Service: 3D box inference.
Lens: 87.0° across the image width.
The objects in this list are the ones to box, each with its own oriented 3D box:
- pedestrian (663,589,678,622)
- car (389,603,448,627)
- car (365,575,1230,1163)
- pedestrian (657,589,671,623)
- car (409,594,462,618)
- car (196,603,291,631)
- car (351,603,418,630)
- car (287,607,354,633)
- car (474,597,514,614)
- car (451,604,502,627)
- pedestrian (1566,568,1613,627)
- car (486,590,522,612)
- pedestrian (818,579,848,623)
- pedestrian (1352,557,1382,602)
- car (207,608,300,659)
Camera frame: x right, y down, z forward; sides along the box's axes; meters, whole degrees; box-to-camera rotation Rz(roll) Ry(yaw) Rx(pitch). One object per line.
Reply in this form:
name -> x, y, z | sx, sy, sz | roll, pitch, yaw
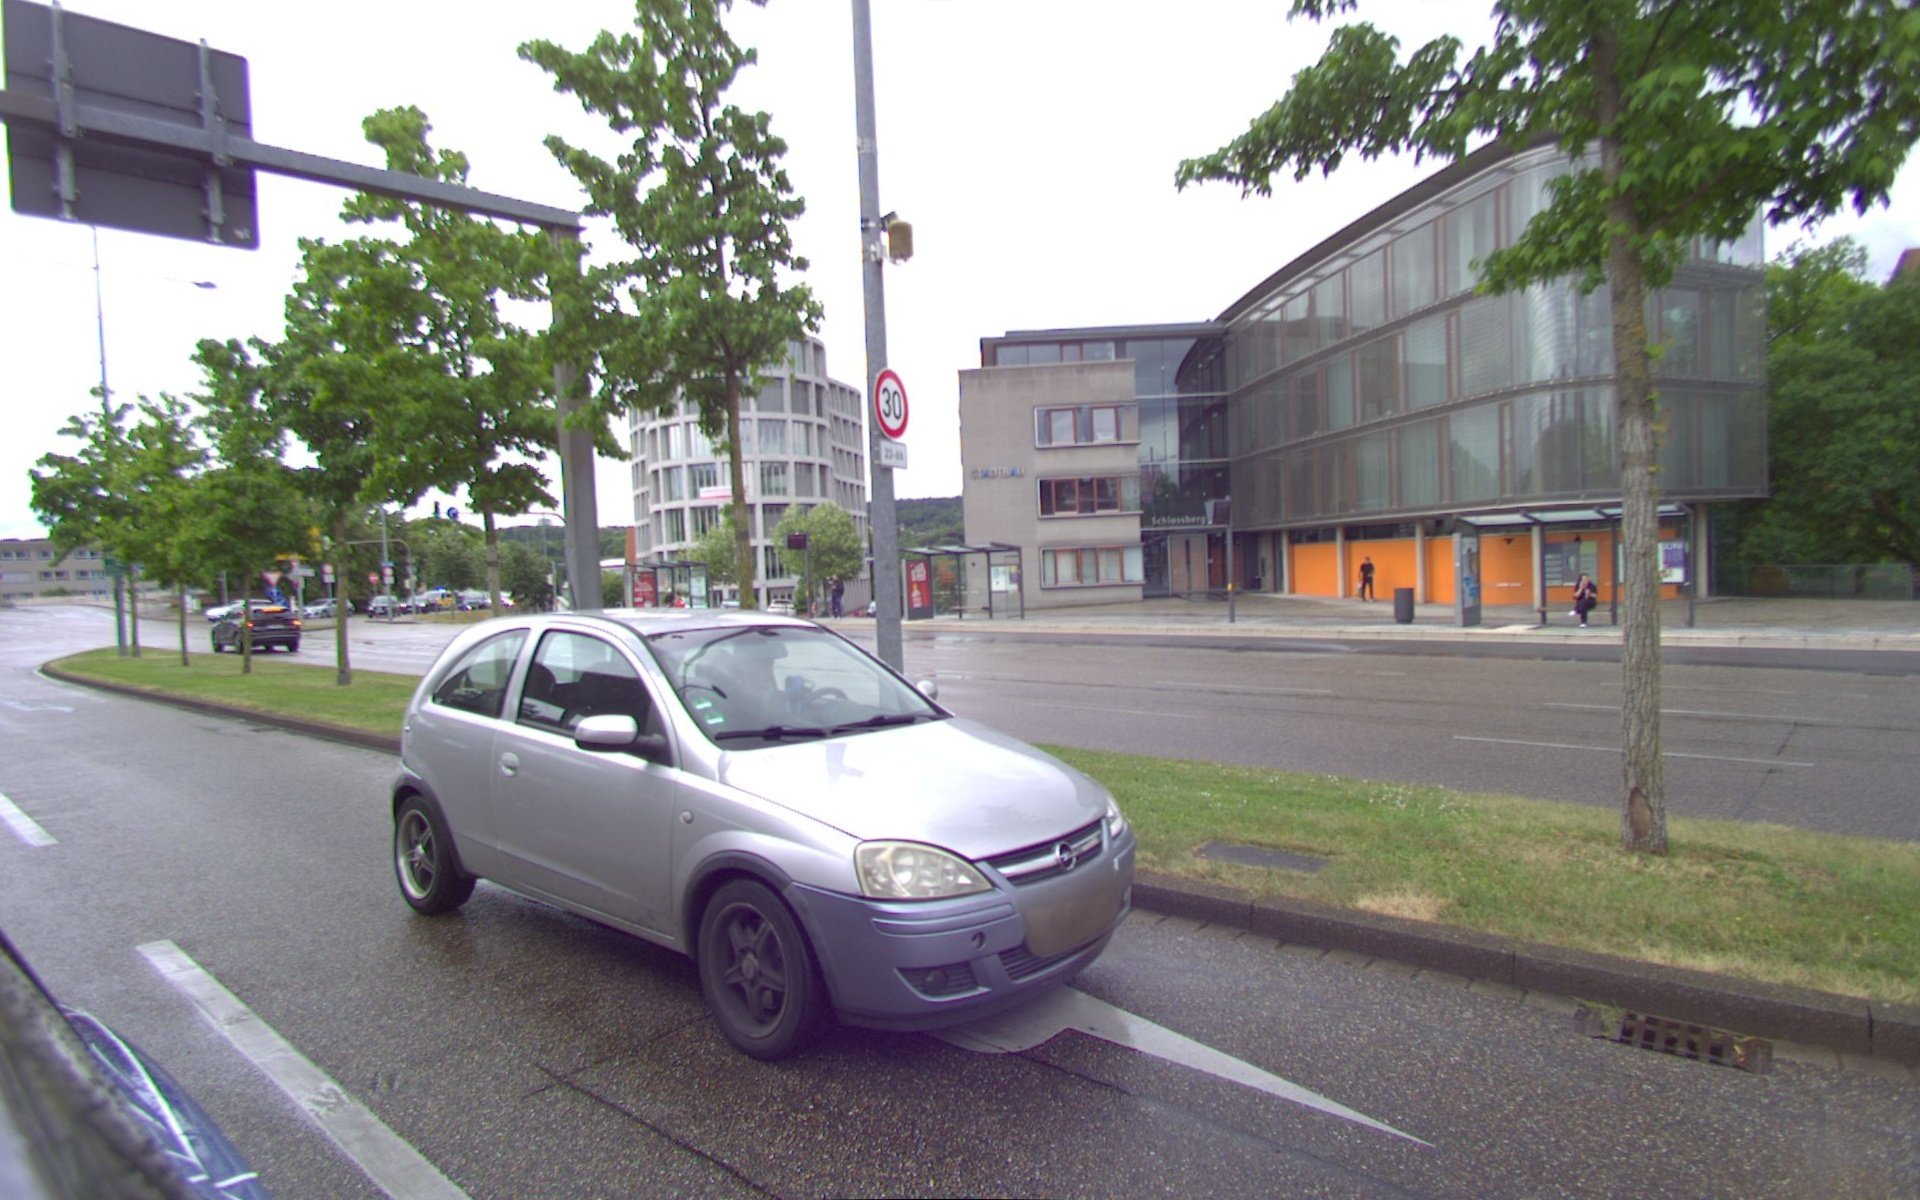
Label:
pedestrian -> -14.558, 0.290, 50.908 | 0.535, 1.647, 0.514 | -1, 0, 41
car -> -42.660, 1.131, 79.909 | 2.164, 1.725, 4.919 | -1, 0, -3
car -> -0.943, 0.687, 4.357 | 3.732, 1.469, 1.607 | -1, 0, 40
pedestrian -> -14.728, 0.296, 50.340 | 0.501, 1.647, 0.497 | -1, 0, 41
car -> -46.618, 0.528, 90.083 | 2.276, 2.029, 5.038 | -1, 0, -3
car -> -48.669, 1.109, 68.871 | 2.179, 1.725, 4.885 | -1, 0, 19
car -> -41.182, 1.144, 72.531 | 2.164, 1.725, 4.919 | -1, 0, -3
car -> -46.950, 1.449, 74.387 | 1.978, 1.807, 3.987 | -1, 0, 11
car -> -48.118, 0.545, 104.611 | 2.163, 1.725, 4.922 | -1, 0, -5
car -> -40.872, 1.287, 85.737 | 2.164, 1.725, 4.920 | -1, 0, -3
pedestrian -> 14.607, -0.051, 23.484 | 0.790, 1.334, 0.793 | -1, 0, 42
car -> -43.368, 0.086, 96.364 | 1.969, 2.029, 4.005 | -1, 0, -6
pedestrian -> -5.211, 0.028, 41.566 | 0.964, 1.773, 0.783 | -1, 0, 12
pedestrian -> 15.306, -0.751, 38.041 | 0.697, 1.666, 0.852 | -1, 0, -6
car -> -25.261, 1.161, 36.109 | 4.600, 1.652, 1.802 | -1, 1, 43
